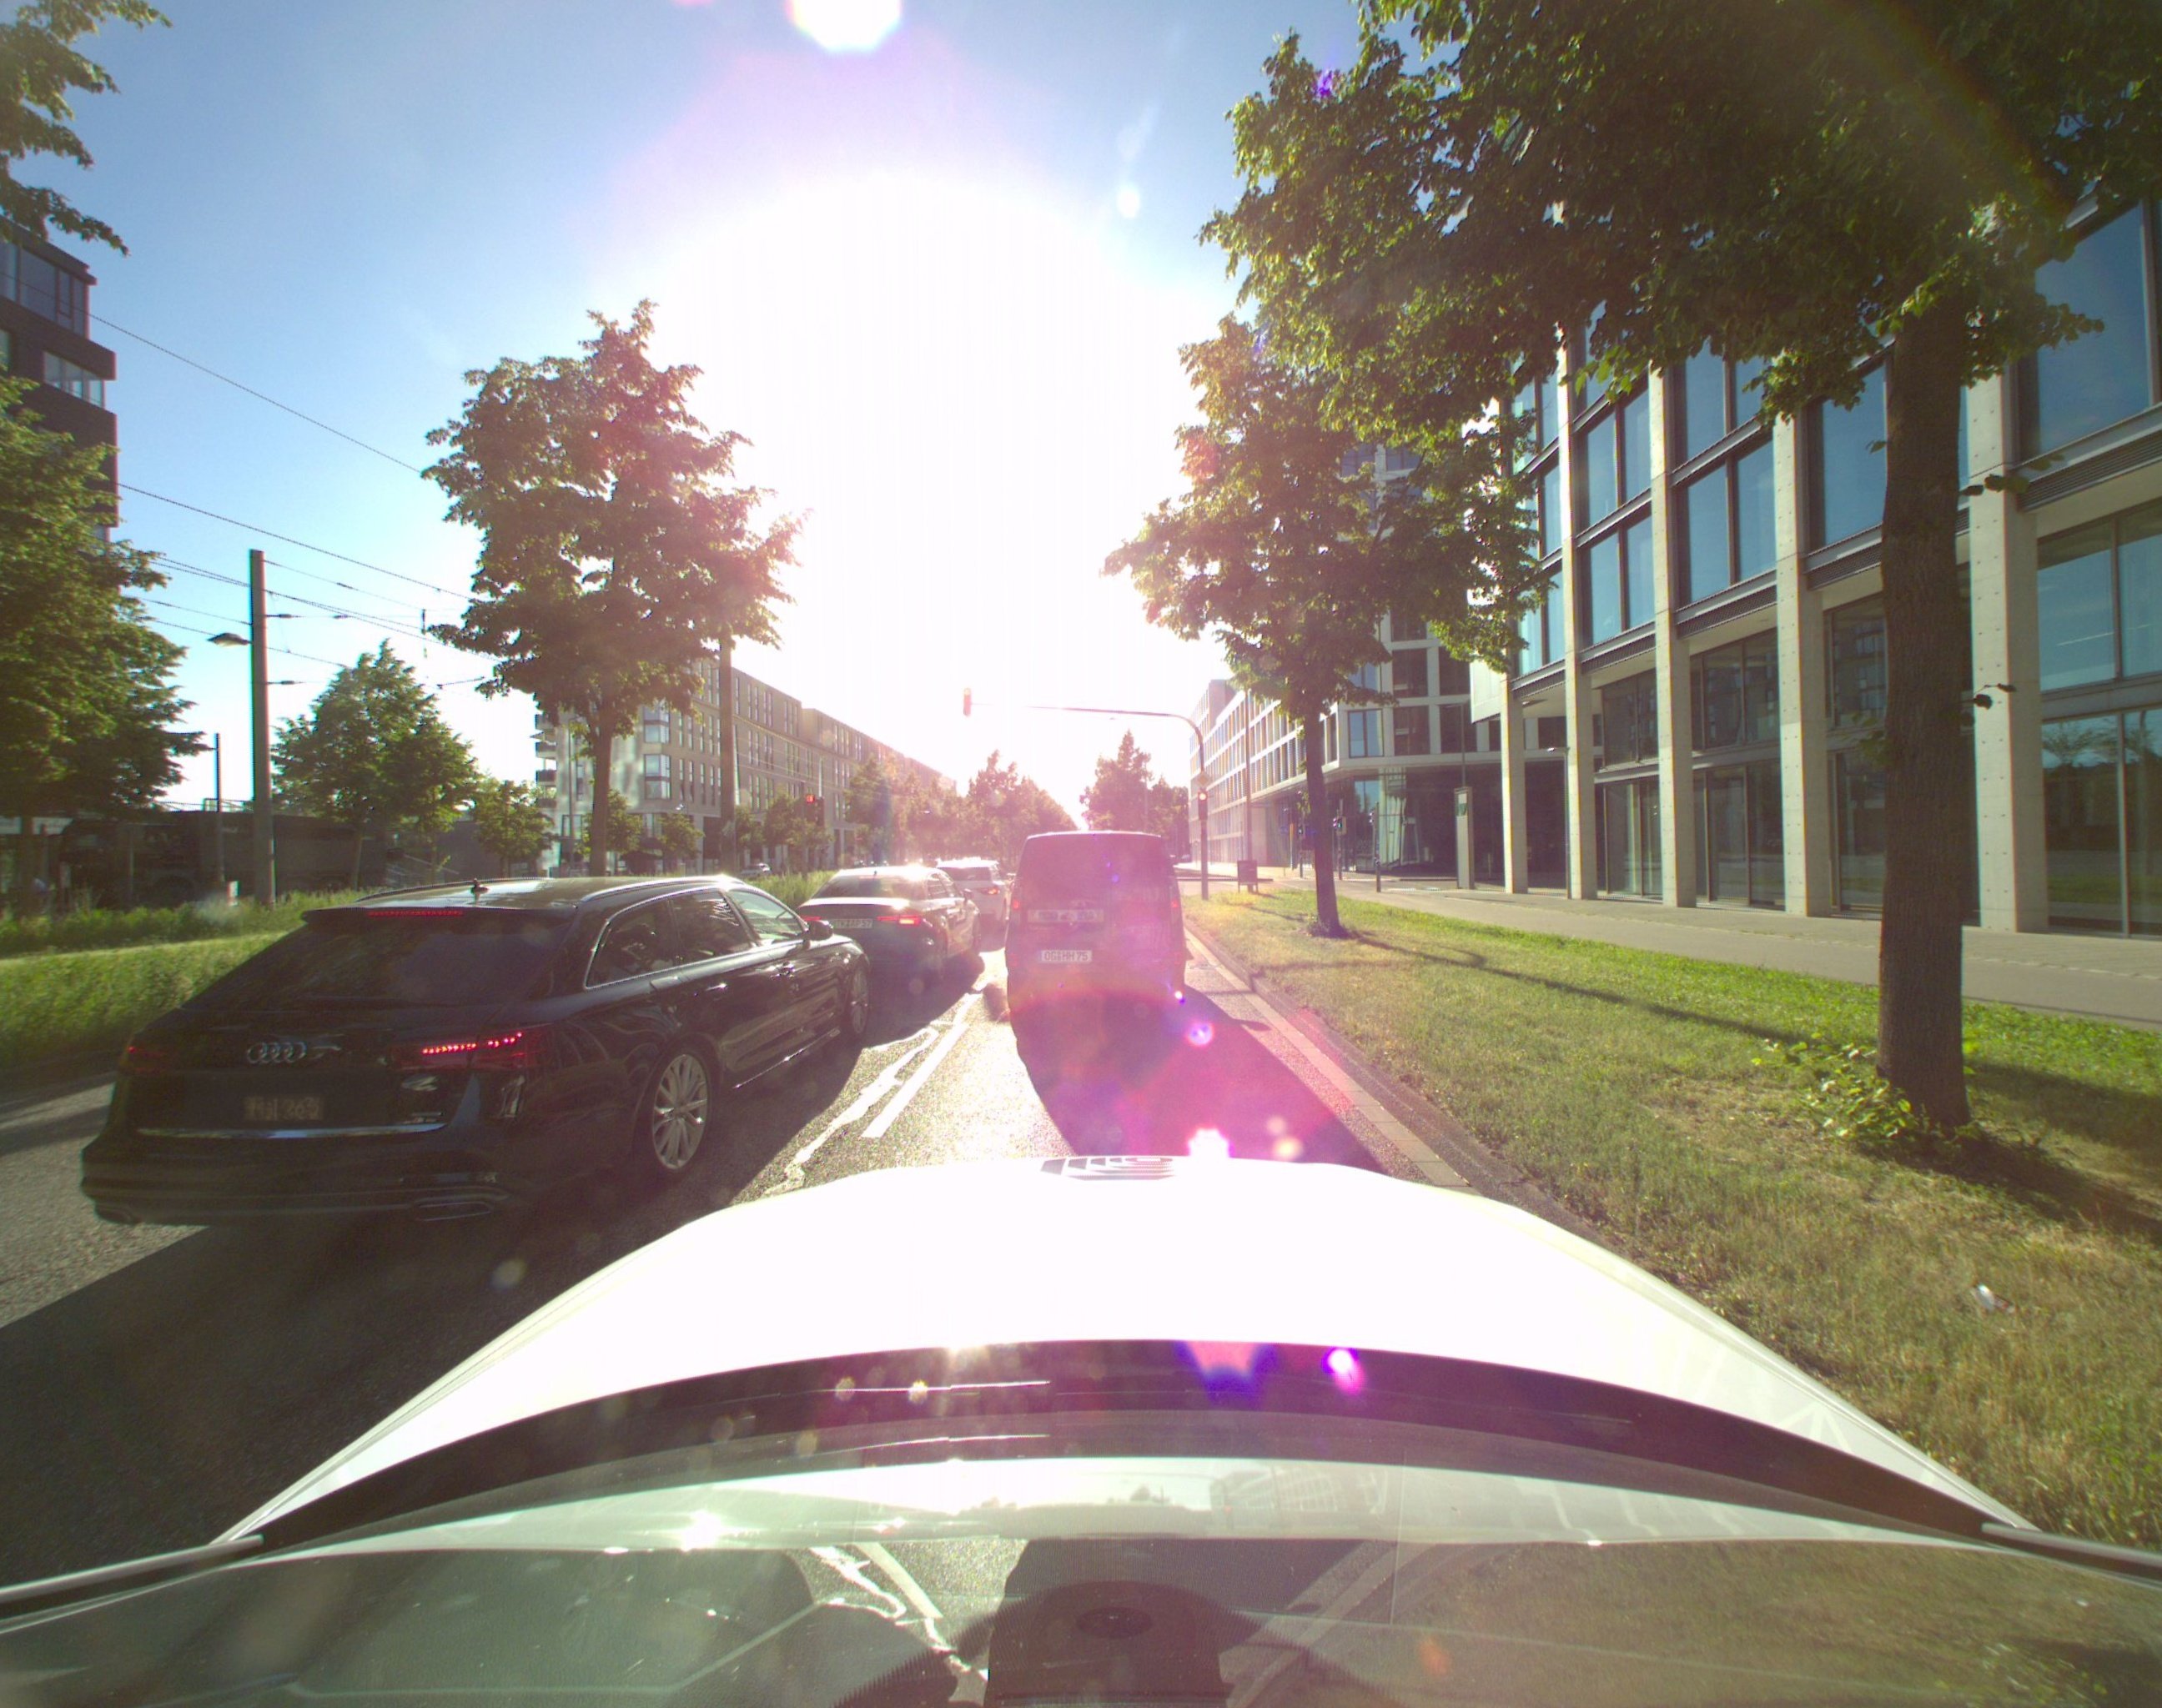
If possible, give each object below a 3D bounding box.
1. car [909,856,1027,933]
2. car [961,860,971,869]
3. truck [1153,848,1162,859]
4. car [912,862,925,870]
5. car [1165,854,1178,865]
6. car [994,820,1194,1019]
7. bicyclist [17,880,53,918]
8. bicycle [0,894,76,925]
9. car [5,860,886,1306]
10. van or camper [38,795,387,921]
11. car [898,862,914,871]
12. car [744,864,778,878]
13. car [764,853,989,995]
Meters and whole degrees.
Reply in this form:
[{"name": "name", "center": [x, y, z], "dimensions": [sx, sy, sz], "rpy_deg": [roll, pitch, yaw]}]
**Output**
[{"name": "car", "center": [-2.307, 0.779, 17.696], "dimensions": [1.801, 1.434, 4.115], "rpy_deg": [-1, 0, 2]}, {"name": "car", "center": [-28.240, 2.514, 199.910], "dimensions": [1.723, 2.013, 3.999], "rpy_deg": [-1, 0, -1]}, {"name": "truck", "center": [18.704, -0.052, 198.841], "dimensions": [1.825, 2.501, 5.934], "rpy_deg": [-1, -1, 1]}, {"name": "car", "center": [-29.994, 2.249, 150.097], "dimensions": [1.574, 1.342, 3.713], "rpy_deg": [-1, 0, 1]}, {"name": "car", "center": [14.205, 0.817, 127.744], "dimensions": [1.750, 1.611, 3.906], "rpy_deg": [-1, 0, 3]}, {"name": "car", "center": [0.212, 0.605, 9.540], "dimensions": [1.801, 1.794, 4.115], "rpy_deg": [-1, 0, 2]}, {"name": "bicyclist", "center": [-38.832, 1.665, 30.237], "dimensions": [0.490, 1.406, 0.626], "rpy_deg": [0, -1, 1]}, {"name": "bicycle", "center": [-38.818, 2.044, 30.280], "dimensions": [0.525, 1.034, 1.848], "rpy_deg": [0, -1, 2]}, {"name": "car", "center": [-2.726, 0.805, 5.045], "dimensions": [1.801, 1.457, 4.509], "rpy_deg": [-1, 0, 2]}, {"name": "van or camper", "center": [-33.651, 0.157, 32.574], "dimensions": [2.743, 4.192, 10.234], "rpy_deg": [-1, 0, 2]}, {"name": "car", "center": [-29.559, 2.126, 137.493], "dimensions": [1.769, 1.528, 3.807], "rpy_deg": [-1, 0, 1]}, {"name": "car", "center": [-31.612, 1.657, 80.564], "dimensions": [1.574, 1.342, 4.473], "rpy_deg": [-1, 0, 1]}, {"name": "car", "center": [-2.486, 0.769, 11.009], "dimensions": [1.801, 1.527, 4.115], "rpy_deg": [-1, 0, 2]}]
